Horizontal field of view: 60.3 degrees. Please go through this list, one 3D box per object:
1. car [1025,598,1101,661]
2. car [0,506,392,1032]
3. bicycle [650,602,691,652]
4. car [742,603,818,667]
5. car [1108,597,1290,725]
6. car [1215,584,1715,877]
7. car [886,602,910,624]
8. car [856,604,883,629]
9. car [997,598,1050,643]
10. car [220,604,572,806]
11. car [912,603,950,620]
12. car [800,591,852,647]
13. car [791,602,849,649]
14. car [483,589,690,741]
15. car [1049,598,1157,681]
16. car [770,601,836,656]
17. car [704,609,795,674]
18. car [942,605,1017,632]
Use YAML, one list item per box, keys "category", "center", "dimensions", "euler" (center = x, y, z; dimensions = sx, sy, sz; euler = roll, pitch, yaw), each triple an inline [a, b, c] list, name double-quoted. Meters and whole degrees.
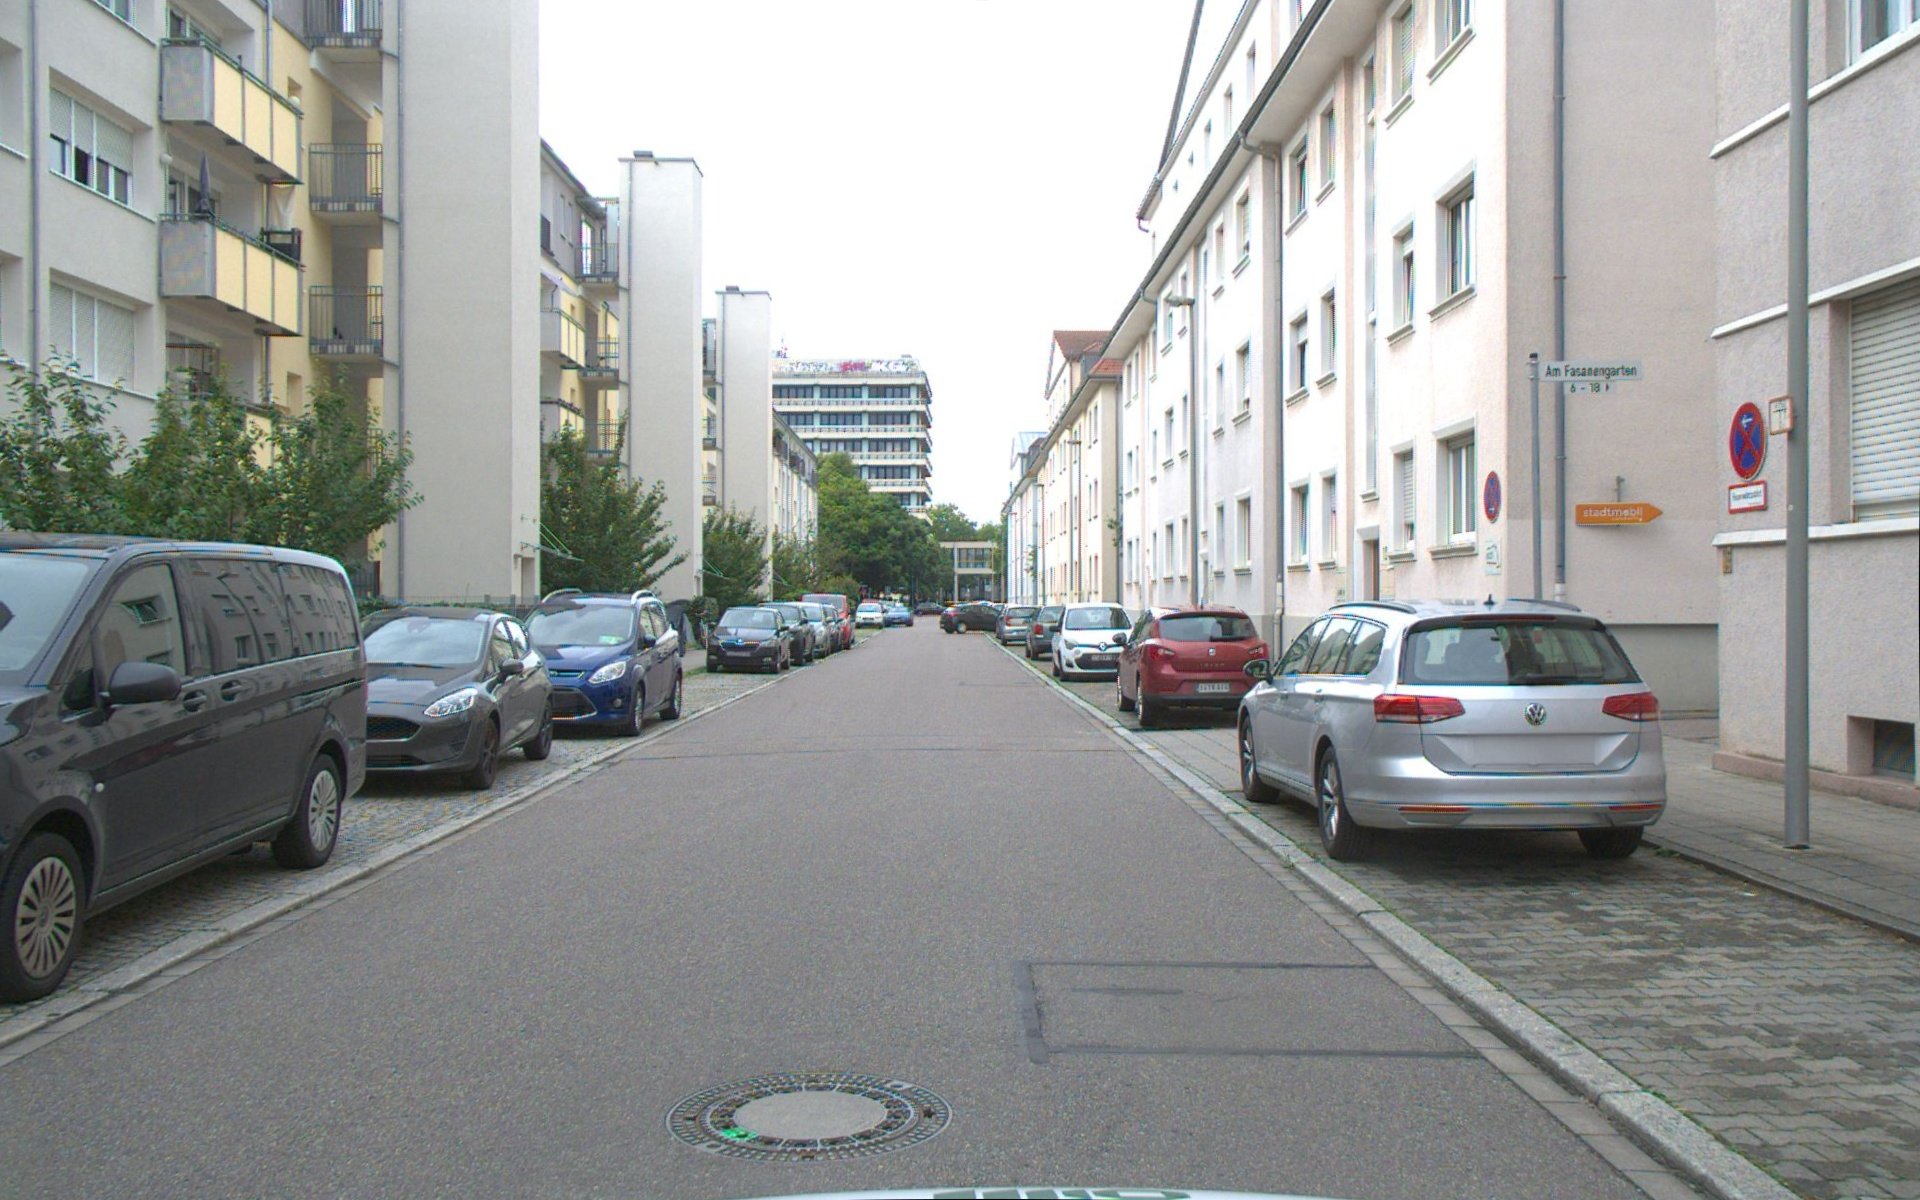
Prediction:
- category: "car"
  center: [2.769, 0.769, 45.079]
  dimensions: [1.782, 1.604, 3.752]
  euler: [1, 0, -1]
- category: "car"
  center: [-4.516, 0.578, 8.116]
  dimensions: [1.841, 1.937, 5.028]
  euler: [2, 0, -3]
- category: "bicycle"
  center: [-7.704, 0.705, 44.059]
  dimensions: [0.853, 1.311, 1.891]
  euler: [0, 0, -3]
- category: "car"
  center: [-4.779, 0.904, 44.268]
  dimensions: [1.637, 1.591, 3.663]
  euler: [1, 0, -1]
- category: "car"
  center: [2.979, 0.712, 21.385]
  dimensions: [1.636, 1.445, 3.999]
  euler: [-2, 0, -2]
- category: "car"
  center: [2.951, 0.662, 10.785]
  dimensions: [1.720, 1.493, 4.599]
  euler: [1, 0, -2]
- category: "car"
  center: [-4.205, 0.861, 112.125]
  dimensions: [1.508, 1.476, 3.739]
  euler: [0, 0, -3]
- category: "car"
  center: [-5.539, 1.018, 101.359]
  dimensions: [1.507, 1.476, 3.741]
  euler: [1, 0, -1]
- category: "car"
  center: [2.357, 0.754, 61.827]
  dimensions: [1.782, 1.604, 3.883]
  euler: [1, 0, -1]
- category: "car"
  center: [-4.766, 0.806, 14.660]
  dimensions: [1.793, 1.484, 4.258]
  euler: [1, 0, -2]
- category: "car"
  center: [-3.040, 1.207, 174.361]
  dimensions: [3.906, 1.512, 2.000]
  euler: [2, 0, -1]
- category: "car"
  center: [-4.866, 0.672, 60.494]
  dimensions: [1.637, 1.972, 3.741]
  euler: [1, 0, -1]
- category: "car"
  center: [-4.680, 0.832, 55.614]
  dimensions: [1.637, 1.513, 3.741]
  euler: [1, 0, -1]
- category: "car"
  center: [-4.508, 0.715, 20.582]
  dimensions: [1.734, 1.672, 4.353]
  euler: [1, 0, -2]
- category: "car"
  center: [2.795, 0.750, 32.973]
  dimensions: [1.782, 1.531, 3.752]
  euler: [1, 0, -1]
- category: "car"
  center: [-4.719, 0.831, 50.239]
  dimensions: [1.637, 1.552, 4.252]
  euler: [1, 0, -1]
- category: "car"
  center: [-4.811, 0.918, 38.236]
  dimensions: [1.637, 1.375, 3.816]
  euler: [1, 0, -1]
- category: "car"
  center: [0.969, 0.909, 81.839]
  dimensions: [3.652, 1.235, 1.544]
  euler: [1, 0, 0]
